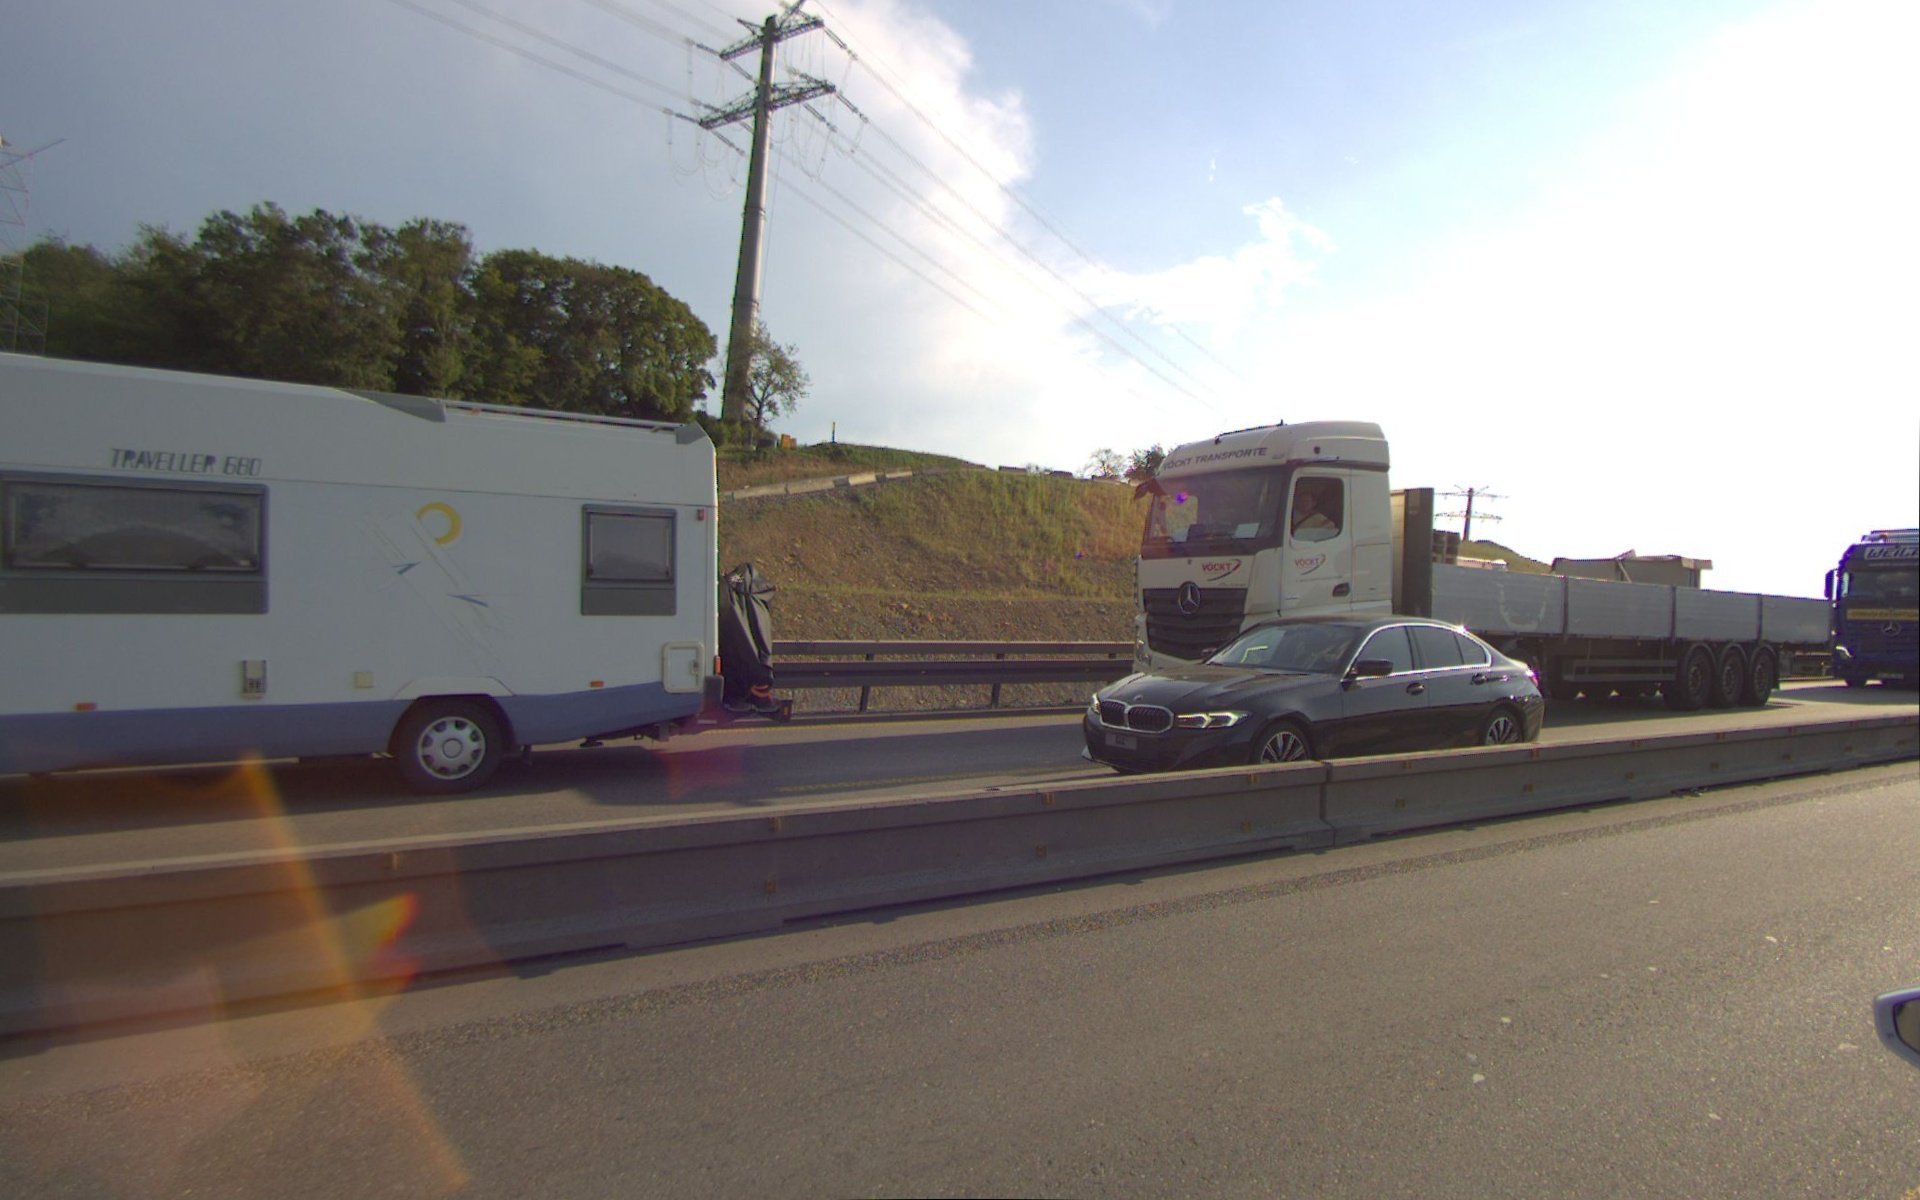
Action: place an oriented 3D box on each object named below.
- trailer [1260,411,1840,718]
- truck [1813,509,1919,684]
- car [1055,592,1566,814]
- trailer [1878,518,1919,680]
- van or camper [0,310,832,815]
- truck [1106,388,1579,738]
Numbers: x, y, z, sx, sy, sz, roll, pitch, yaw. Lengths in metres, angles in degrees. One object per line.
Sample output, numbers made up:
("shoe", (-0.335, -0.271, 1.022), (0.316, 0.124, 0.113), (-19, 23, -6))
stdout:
("trailer", (10.844, -0.256, 17.161), (13.825, 3.774, 2.505), (2, 0, -33))
("truck", (24.638, -0.006, 25.733), (5.599, 4.119, 2.491), (2, 0, -30))
("car", (3.202, 0.765, 8.863), (4.534, 1.531, 1.784), (2, 0, -32))
("trailer", (31.037, 0.176, 29.802), (14.450, 4.185, 2.292), (2, 0, -34))
("van or camper", (-4.940, -0.181, 7.611), (7.531, 2.930, 2.396), (2, 0, -31))
("truck", (5.354, -0.323, 13.707), (6.443, 3.804, 2.588), (2, 0, -31))
